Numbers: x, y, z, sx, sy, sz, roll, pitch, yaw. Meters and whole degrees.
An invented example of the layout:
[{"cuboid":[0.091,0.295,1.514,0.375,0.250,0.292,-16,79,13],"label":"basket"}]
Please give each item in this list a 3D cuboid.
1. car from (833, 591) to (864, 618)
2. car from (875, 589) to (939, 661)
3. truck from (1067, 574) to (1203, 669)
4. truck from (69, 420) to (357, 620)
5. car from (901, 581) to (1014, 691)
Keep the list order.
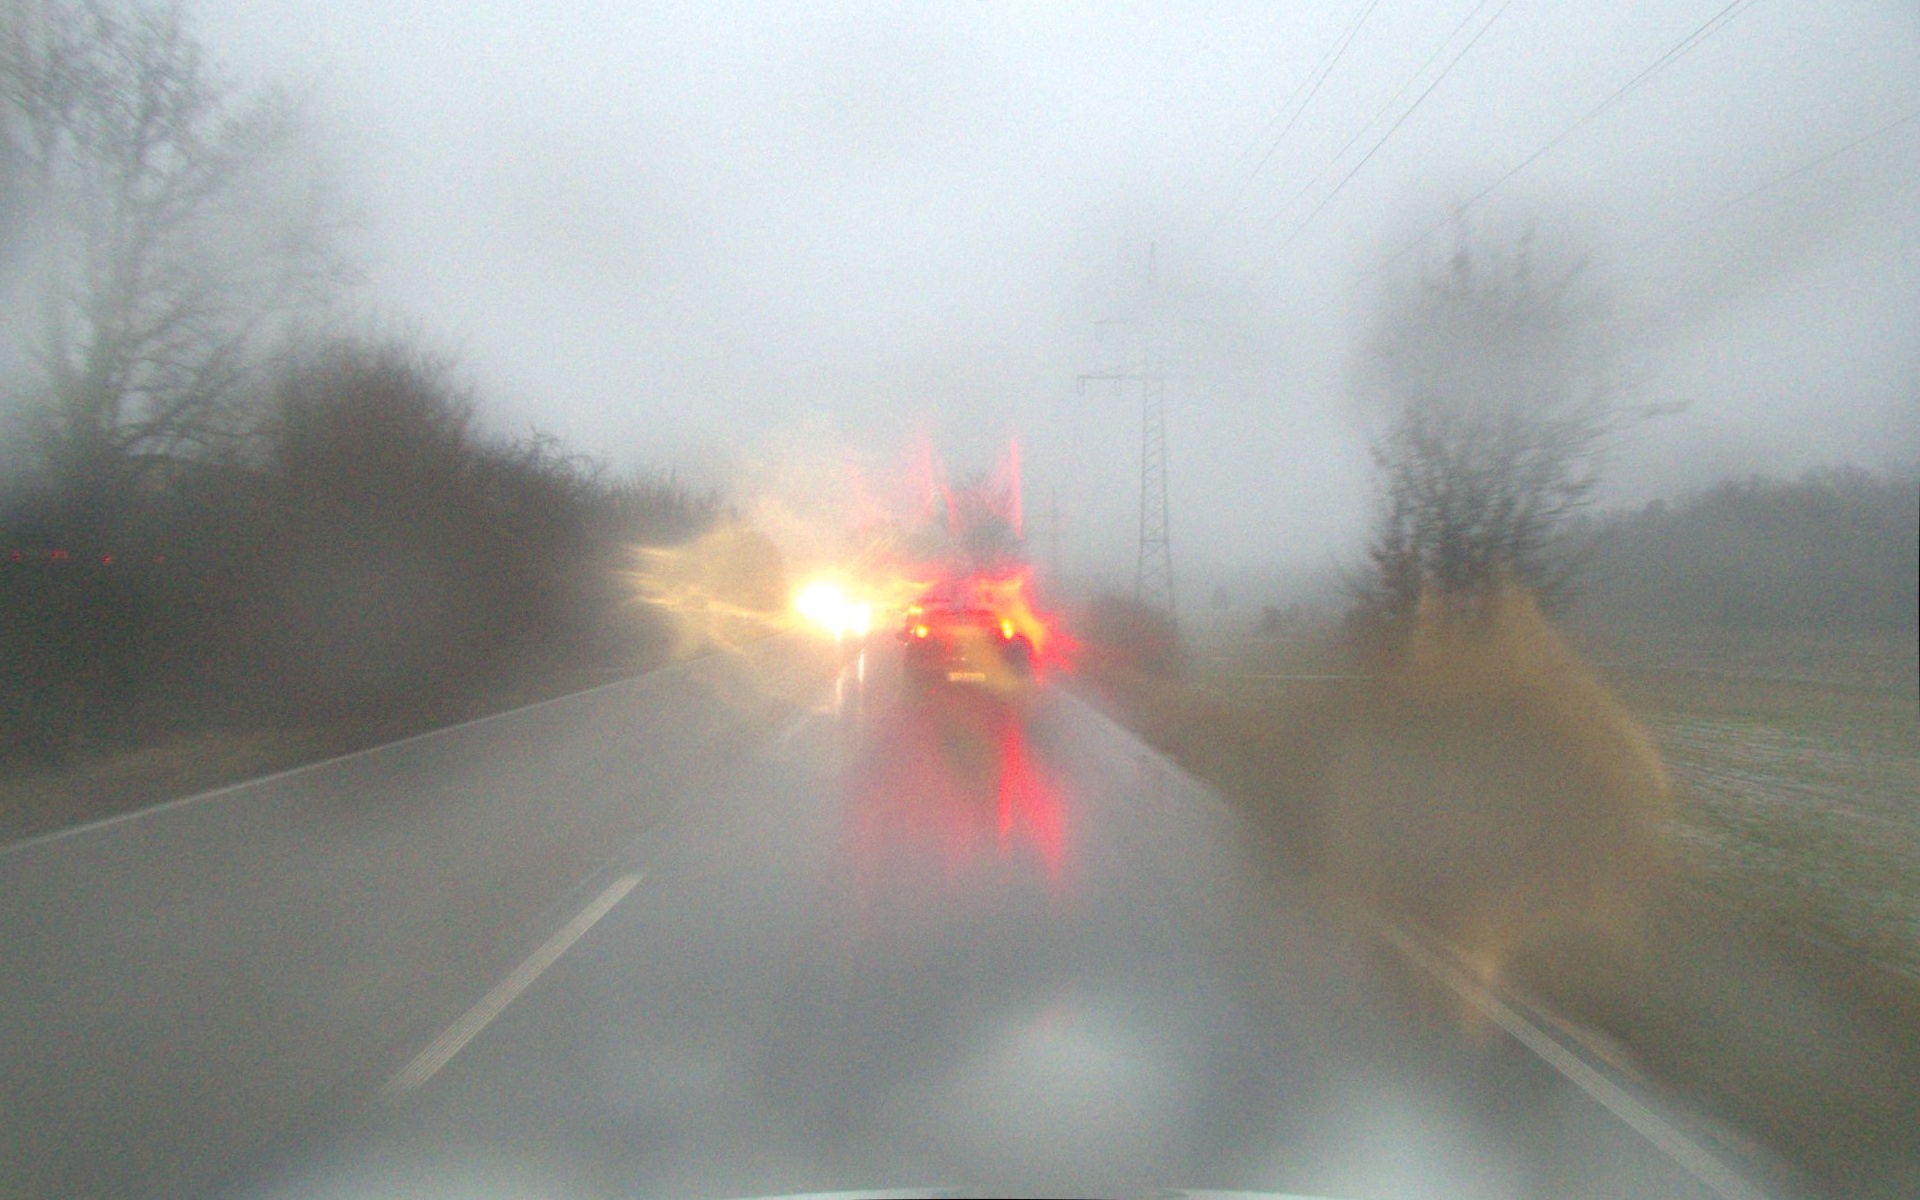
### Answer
[{"cuboid":[-6.603,0.238,98.370,1.654,1.533,4.412,1,0,-2],"label":"car"},{"cuboid":[-1.585,0.730,49.828,1.815,2.049,3.999,1,0,-2],"label":"car"},{"cuboid":[5.228,0.619,51.477,2.454,2.616,10.797,1,0,-4],"label":"truck"},{"cuboid":[-27.003,-2.569,61.293,3.687,6.398,15.735,1,0,-1],"label":"truck"},{"cuboid":[-0.075,0.481,23.412,1.470,1.423,3.198,1,0,-2],"label":"car"}]
